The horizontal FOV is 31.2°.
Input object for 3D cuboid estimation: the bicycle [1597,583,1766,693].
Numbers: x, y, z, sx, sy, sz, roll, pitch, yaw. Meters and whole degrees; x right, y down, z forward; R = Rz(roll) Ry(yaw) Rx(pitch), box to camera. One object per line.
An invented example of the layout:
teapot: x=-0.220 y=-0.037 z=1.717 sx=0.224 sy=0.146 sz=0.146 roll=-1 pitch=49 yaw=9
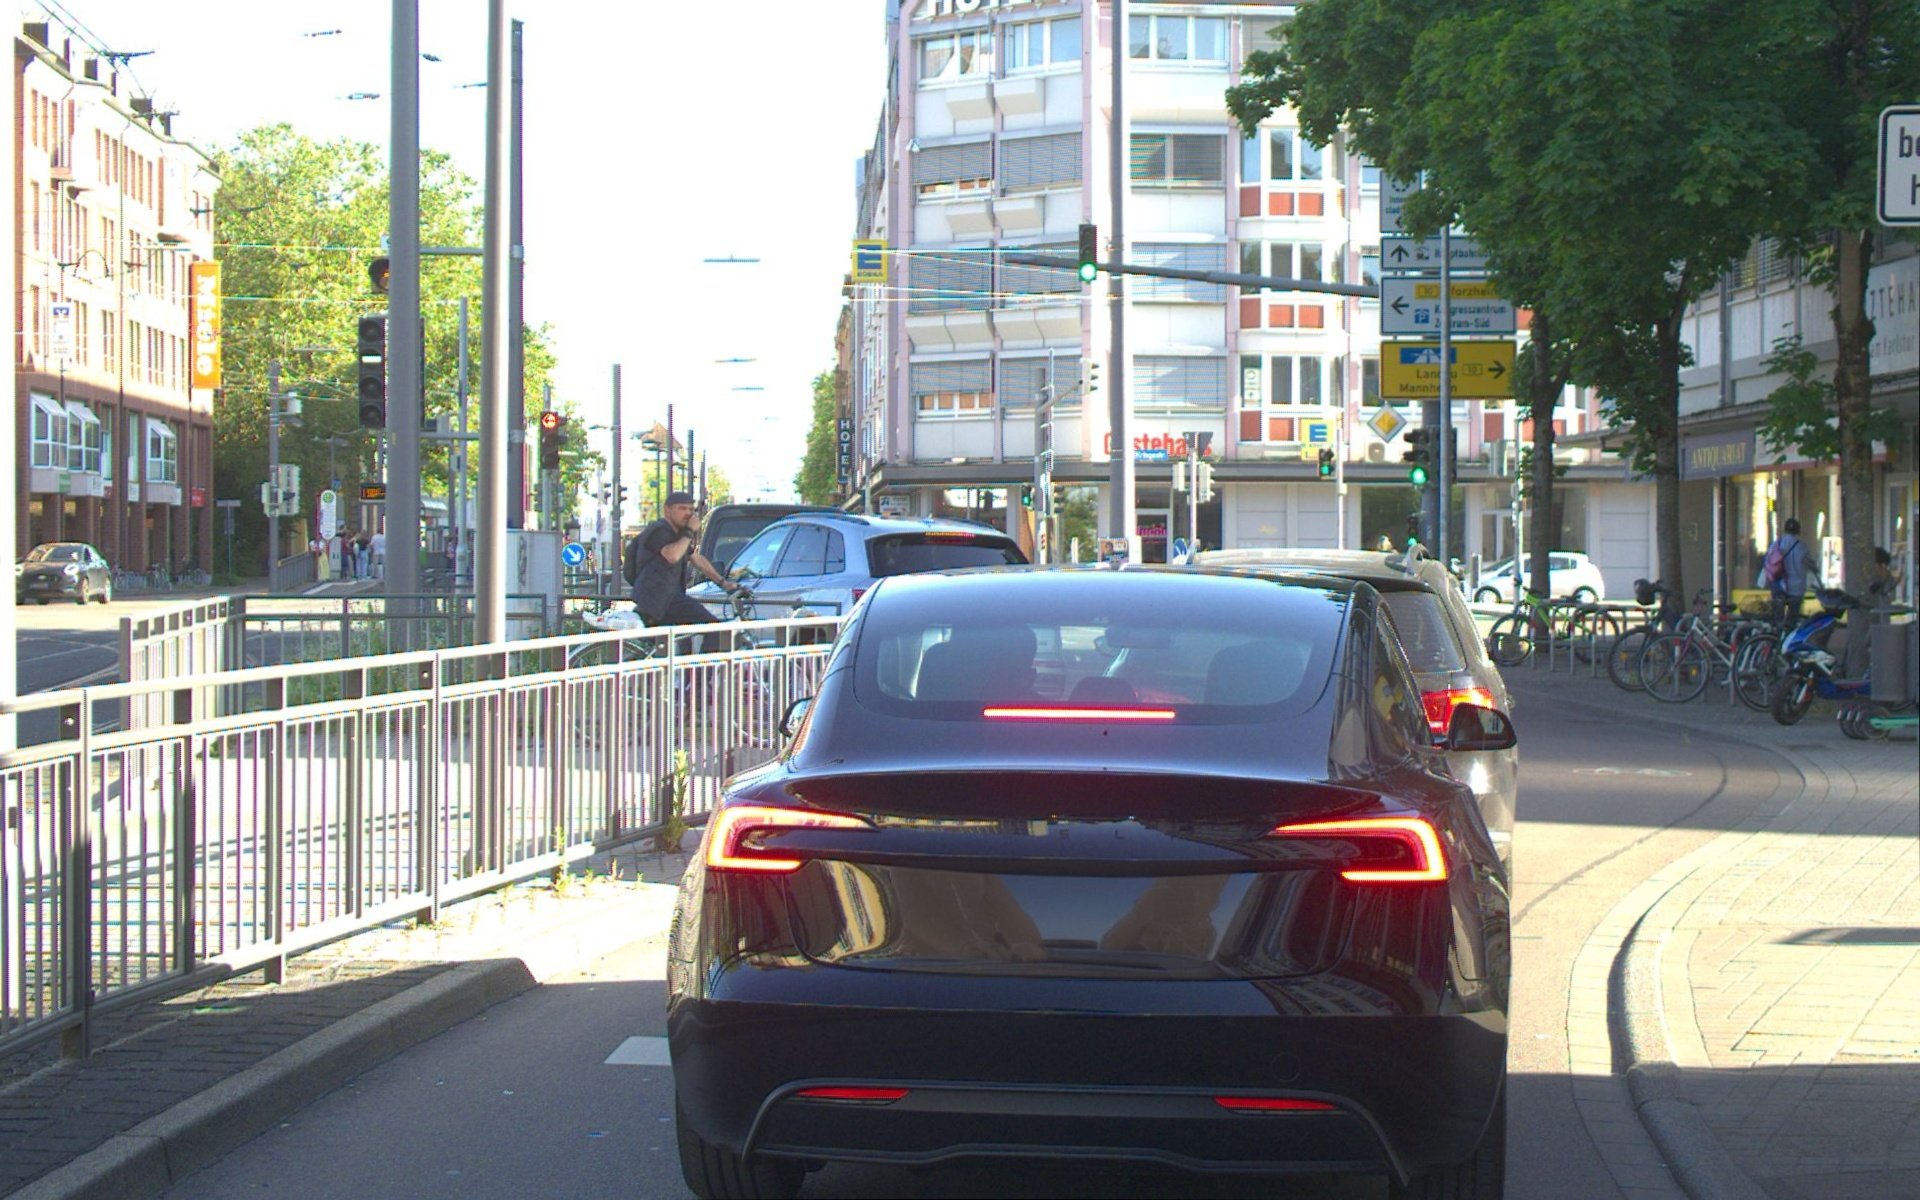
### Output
bicycle: x=7.412 y=0.389 z=35.353 sx=1.650 sy=1.095 sz=0.350 roll=1 pitch=0 yaw=1

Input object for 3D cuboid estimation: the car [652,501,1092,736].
car: x=-0.773 y=0.110 z=26.507 sx=1.883 sy=1.656 sz=4.159 roll=1 pitch=1 yaw=-25

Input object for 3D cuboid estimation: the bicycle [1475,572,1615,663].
bicycle: x=7.225 y=0.218 z=42.484 sx=1.650 sy=1.095 sz=0.350 roll=1 pitch=0 yaw=1

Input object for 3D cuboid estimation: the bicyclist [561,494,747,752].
bicyclist: x=-1.981 y=0.139 z=22.228 sx=0.758 sy=1.623 sz=0.978 roll=0 pitch=1 yaw=-39

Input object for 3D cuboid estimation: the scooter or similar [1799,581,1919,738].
scooter or similar: x=7.552 y=0.470 z=27.194 sx=1.644 sy=1.211 sz=0.644 roll=1 pitch=0 yaw=30

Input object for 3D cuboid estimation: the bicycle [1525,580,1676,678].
bicycle: x=7.324 y=0.326 z=39.332 sx=1.650 sy=1.095 sz=0.350 roll=1 pitch=0 yaw=1

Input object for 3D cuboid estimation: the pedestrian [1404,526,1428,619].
pedestrian: x=8.423 y=-0.516 z=63.475 sx=0.402 sy=1.704 sz=0.527 roll=1 pitch=0 yaw=7

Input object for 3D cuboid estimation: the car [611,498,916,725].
car: x=-1.936 y=0.075 z=32.598 sx=1.993 sy=2.007 sz=4.001 roll=0 pitch=1 yaw=-17

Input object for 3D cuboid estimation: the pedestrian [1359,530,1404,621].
pedestrian: x=7.770 y=-0.455 z=63.382 sx=0.699 sy=1.656 sz=0.777 roll=1 pitch=0 yaw=-1

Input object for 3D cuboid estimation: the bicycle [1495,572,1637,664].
bicycle: x=7.293 y=0.209 z=41.390 sx=1.650 sy=1.095 sz=0.350 roll=0 pitch=1 yaw=1

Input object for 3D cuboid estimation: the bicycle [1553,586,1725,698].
bicycle: x=6.769 y=0.418 z=34.266 sx=1.649 sy=1.095 sz=0.350 roll=1 pitch=0 yaw=-10

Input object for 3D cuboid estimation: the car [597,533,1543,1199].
car: x=0.357 y=0.590 z=8.698 sx=1.829 sy=1.450 sz=3.999 roll=1 pitch=1 yaw=4

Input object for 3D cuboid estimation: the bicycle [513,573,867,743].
bicycle: x=-1.736 y=0.366 z=22.416 sx=2.329 sy=1.050 sz=0.631 roll=0 pitch=1 yaw=-38

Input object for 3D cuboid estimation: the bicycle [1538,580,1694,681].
bicycle: x=7.304 y=0.340 z=38.305 sx=1.650 sy=1.095 sz=0.350 roll=1 pitch=0 yaw=1

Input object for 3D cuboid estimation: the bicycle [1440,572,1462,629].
bicycle: x=9.022 y=0.008 z=63.187 sx=0.332 sy=1.030 sz=1.256 roll=1 pitch=0 yaw=5

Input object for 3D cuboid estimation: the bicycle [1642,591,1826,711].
bicycle: x=7.176 y=0.474 z=31.877 sx=1.649 sy=1.095 sz=0.350 roll=1 pitch=0 yaw=-10

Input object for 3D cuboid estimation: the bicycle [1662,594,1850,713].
bicycle: x=7.281 y=0.489 z=31.453 sx=1.649 sy=1.057 sz=0.350 roll=1 pitch=0 yaw=-10

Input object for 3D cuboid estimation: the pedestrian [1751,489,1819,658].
pedestrian: x=9.884 y=-0.319 z=41.206 sx=0.662 sy=2.007 sz=0.579 roll=1 pitch=0 yaw=2

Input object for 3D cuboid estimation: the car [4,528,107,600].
car: x=-22.271 y=-0.883 z=84.752 sx=1.697 sy=1.725 sz=3.707 roll=1 pitch=1 yaw=-3

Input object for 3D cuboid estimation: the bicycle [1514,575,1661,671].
bicycle: x=7.356 y=0.266 z=40.345 sx=1.650 sy=1.095 sz=0.350 roll=1 pitch=0 yaw=1

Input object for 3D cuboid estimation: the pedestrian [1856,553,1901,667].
pedestrian: x=10.855 y=0.114 z=40.636 sx=0.389 sy=1.339 sz=0.513 roll=1 pitch=0 yaw=2

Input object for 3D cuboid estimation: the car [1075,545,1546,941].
car: x=1.521 y=0.504 z=14.966 sx=1.751 sy=1.449 sz=3.999 roll=1 pitch=1 yaw=6

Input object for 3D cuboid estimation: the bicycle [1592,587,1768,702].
bicycle: x=6.994 y=0.431 z=33.404 sx=1.649 sy=1.095 sz=0.350 roll=1 pitch=0 yaw=-10

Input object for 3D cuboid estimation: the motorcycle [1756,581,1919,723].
motorcycle: x=7.708 y=0.441 z=29.268 sx=1.707 sy=1.169 sz=0.541 roll=1 pitch=0 yaw=-2

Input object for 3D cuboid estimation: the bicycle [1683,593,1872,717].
bicycle: x=7.378 y=0.493 z=31.032 sx=1.649 sy=1.095 sz=0.350 roll=1 pitch=0 yaw=-10
